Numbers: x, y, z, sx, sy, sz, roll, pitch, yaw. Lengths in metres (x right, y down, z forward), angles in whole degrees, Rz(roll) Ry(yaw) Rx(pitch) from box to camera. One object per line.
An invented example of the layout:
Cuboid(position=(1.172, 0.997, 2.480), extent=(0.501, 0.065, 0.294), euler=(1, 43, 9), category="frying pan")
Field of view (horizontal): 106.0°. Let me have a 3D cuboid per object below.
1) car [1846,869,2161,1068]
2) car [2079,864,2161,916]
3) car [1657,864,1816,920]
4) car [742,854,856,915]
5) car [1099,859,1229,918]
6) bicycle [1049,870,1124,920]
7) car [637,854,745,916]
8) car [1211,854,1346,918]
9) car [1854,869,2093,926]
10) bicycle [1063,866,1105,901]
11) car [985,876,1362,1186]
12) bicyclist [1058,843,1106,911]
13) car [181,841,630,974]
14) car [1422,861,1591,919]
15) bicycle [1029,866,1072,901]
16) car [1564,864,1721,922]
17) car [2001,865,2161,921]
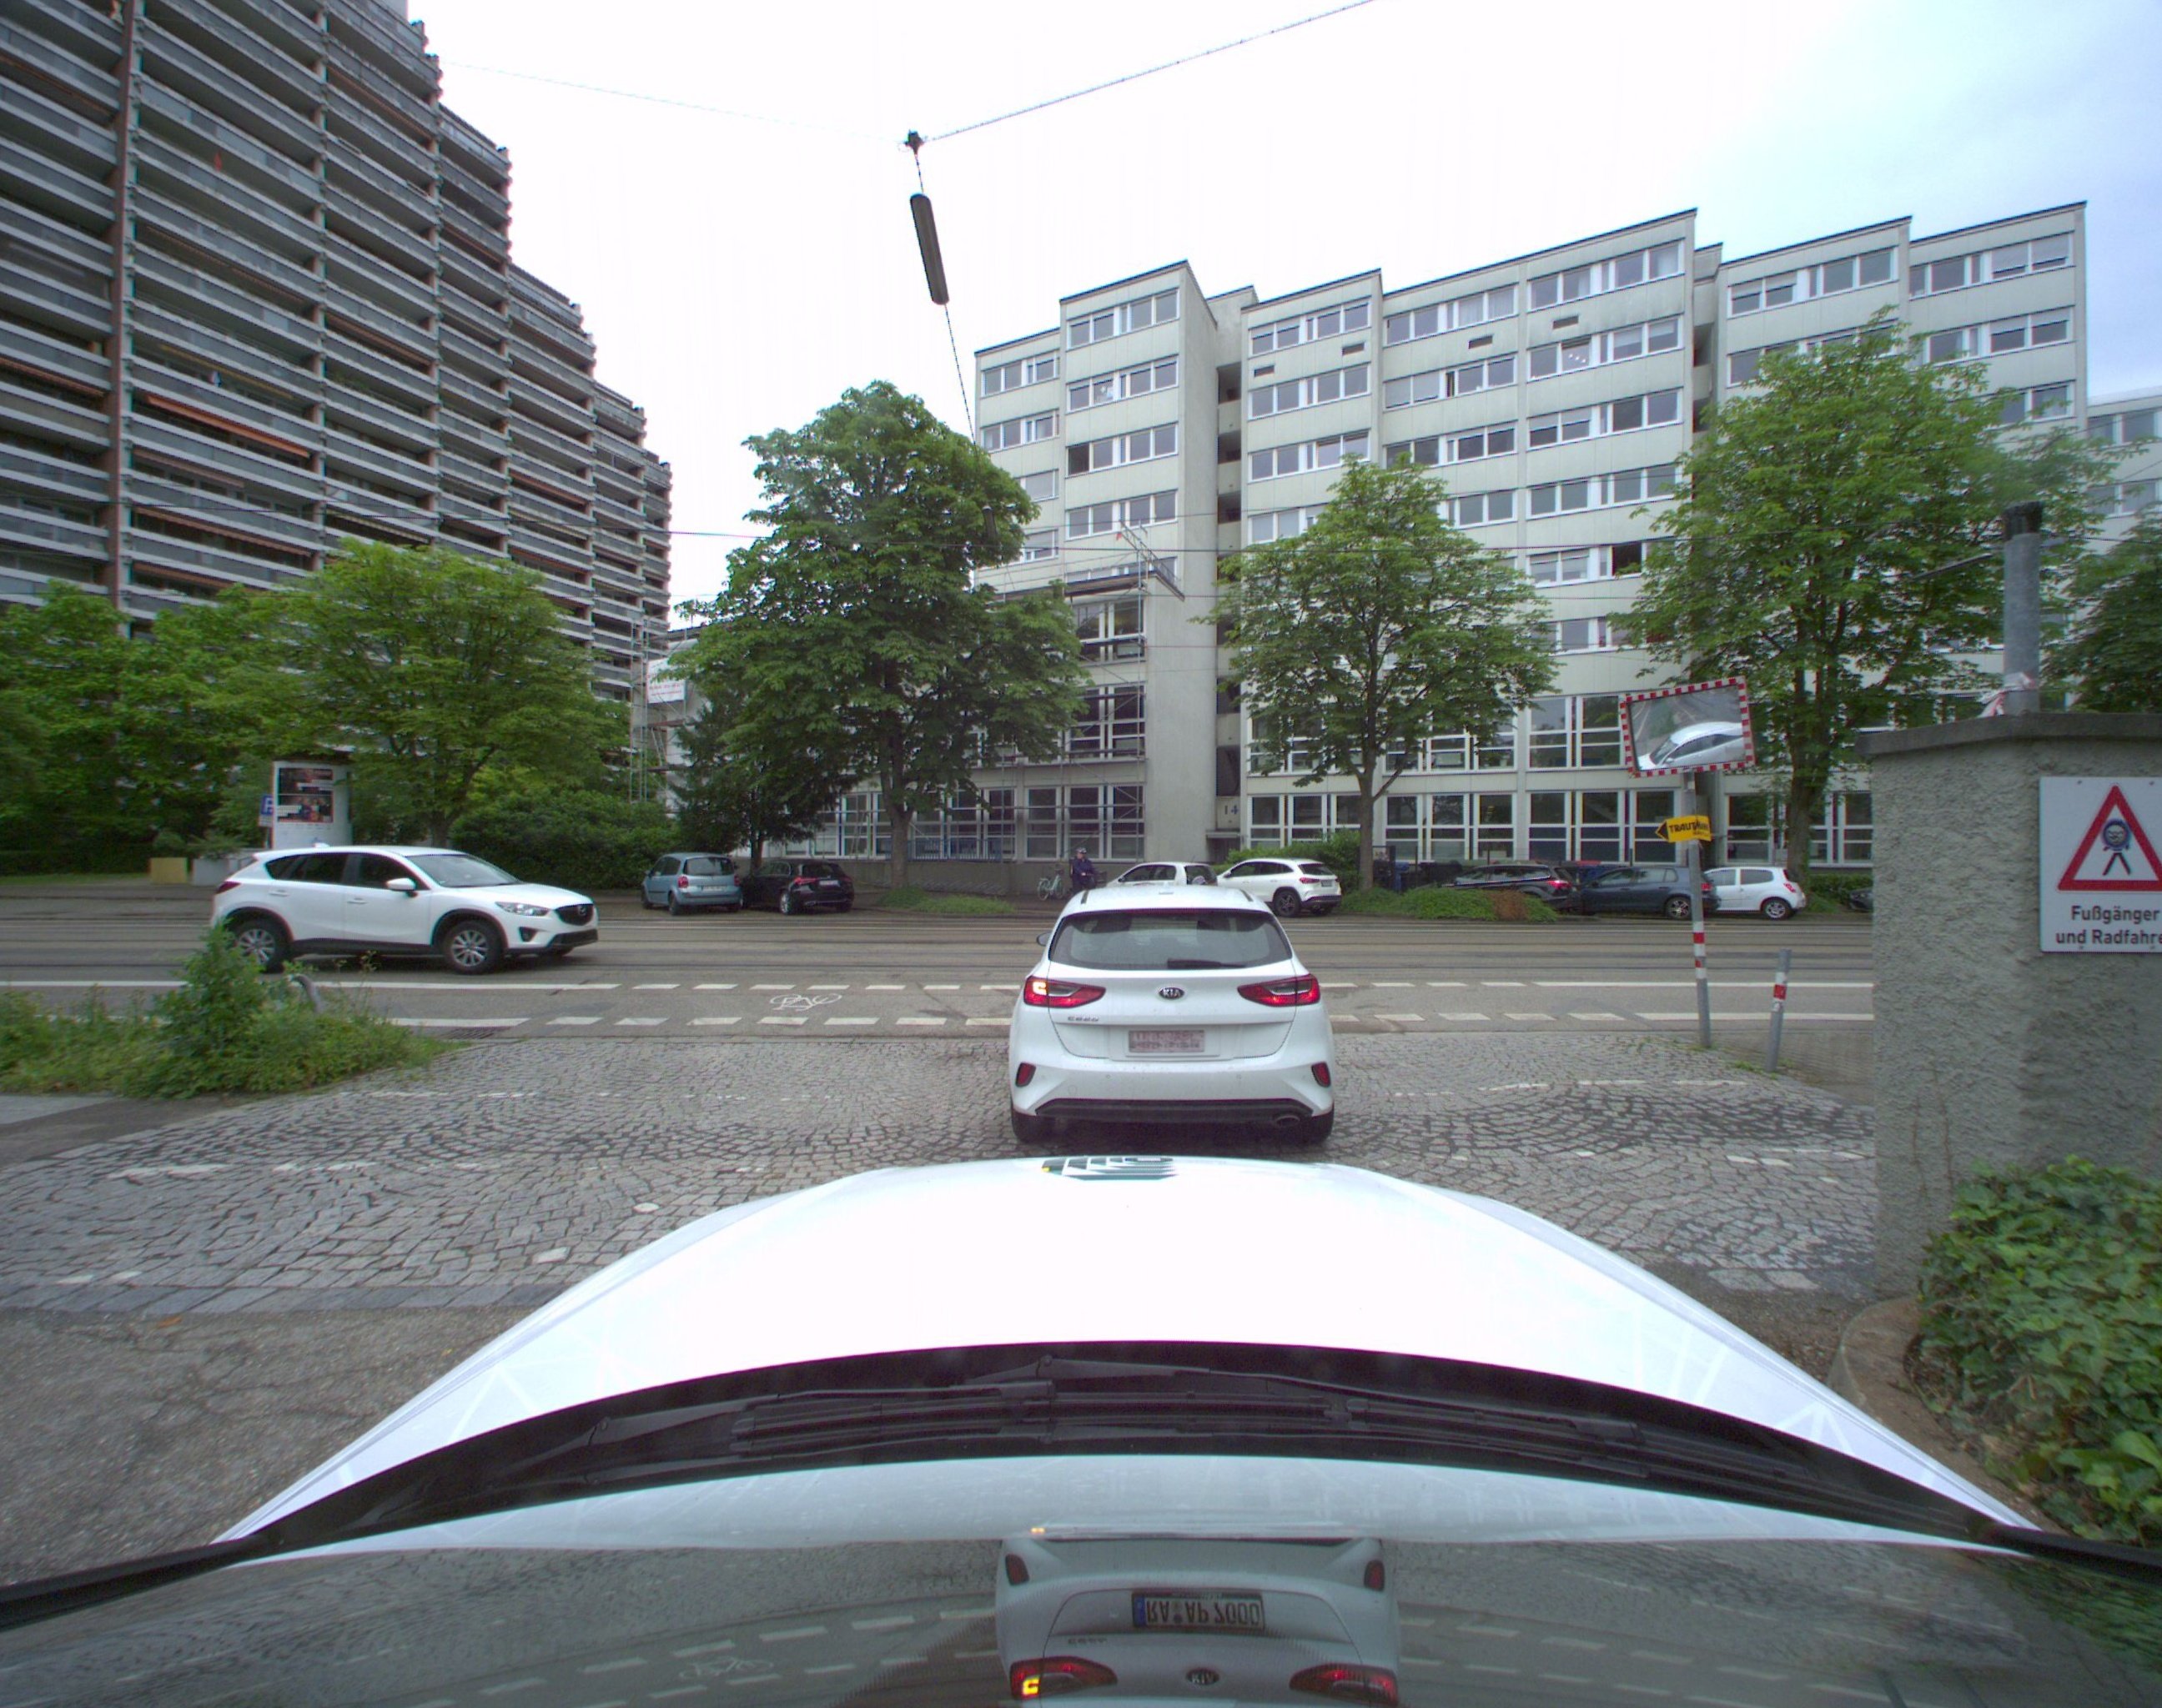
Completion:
Cuboid(position=(9.229, 0.901, 7.115), extent=(3.570, 1.501, 1.665), euler=(0, 0, 0), category="car")
Cuboid(position=(31.445, 1.023, 23.405), extent=(1.425, 1.474, 3.348), euler=(0, 0, -44), category="car")
Cuboid(position=(18.508, 1.018, 23.089), extent=(1.425, 1.474, 3.348), euler=(0, -1, -44), category="car")
Cuboid(position=(-7.637, 0.772, 21.895), extent=(1.628, 1.511, 3.295), euler=(0, -1, -45), category="car")
Cuboid(position=(2.220, 0.893, 22.323), extent=(1.565, 1.473, 3.367), euler=(0, -1, -42), category="car")
Cuboid(position=(0.130, 1.018, 20.686), extent=(0.826, 1.174, 1.892), euler=(1, 0, -44), category="bicycle")
Cuboid(position=(-10.533, 0.766, 21.901), extent=(1.628, 1.537, 3.296), euler=(0, -1, -45), category="car")
Cuboid(position=(5.432, 0.839, 22.647), extent=(1.565, 1.618, 3.367), euler=(0, -1, -42), category="car")
Cuboid(position=(25.244, 1.195, 23.304), extent=(4.441, 1.474, 1.425), euler=(-1, -4, 42), category="car")
Cuboid(position=(0.134, 1.000, 28.280), extent=(0.638, 1.074, 2.325), euler=(0, 2, 22), category="bicycle")
Cuboid(position=(0.598, 0.888, 5.857), extent=(1.767, 1.433, 3.984), euler=(-1, -2, 5), category="car")
Cuboid(position=(0.020, 0.570, 20.814), extent=(0.839, 1.698, 0.886), euler=(1, -1, -43), category="bicyclist")
Cuboid(position=(-9.226, 0.681, 11.479), extent=(4.572, 1.703, 1.999), euler=(0, 1, -1), category="car")
Cuboid(position=(11.925, 0.957, 22.969), extent=(3.904, 1.474, 1.684), euler=(-1, -1, 42), category="car")
Cuboid(position=(-1.051, 1.012, 28.741), extent=(0.638, 1.074, 2.325), euler=(0, 2, 22), category="bicycle")
Cuboid(position=(15.447, 1.020, 22.513), extent=(1.425, 1.474, 3.348), euler=(0, -1, -44), category="car")
Cuboid(position=(28.645, 1.063, 23.062), extent=(1.425, 1.474, 3.348), euler=(0, -1, -44), category="car")
